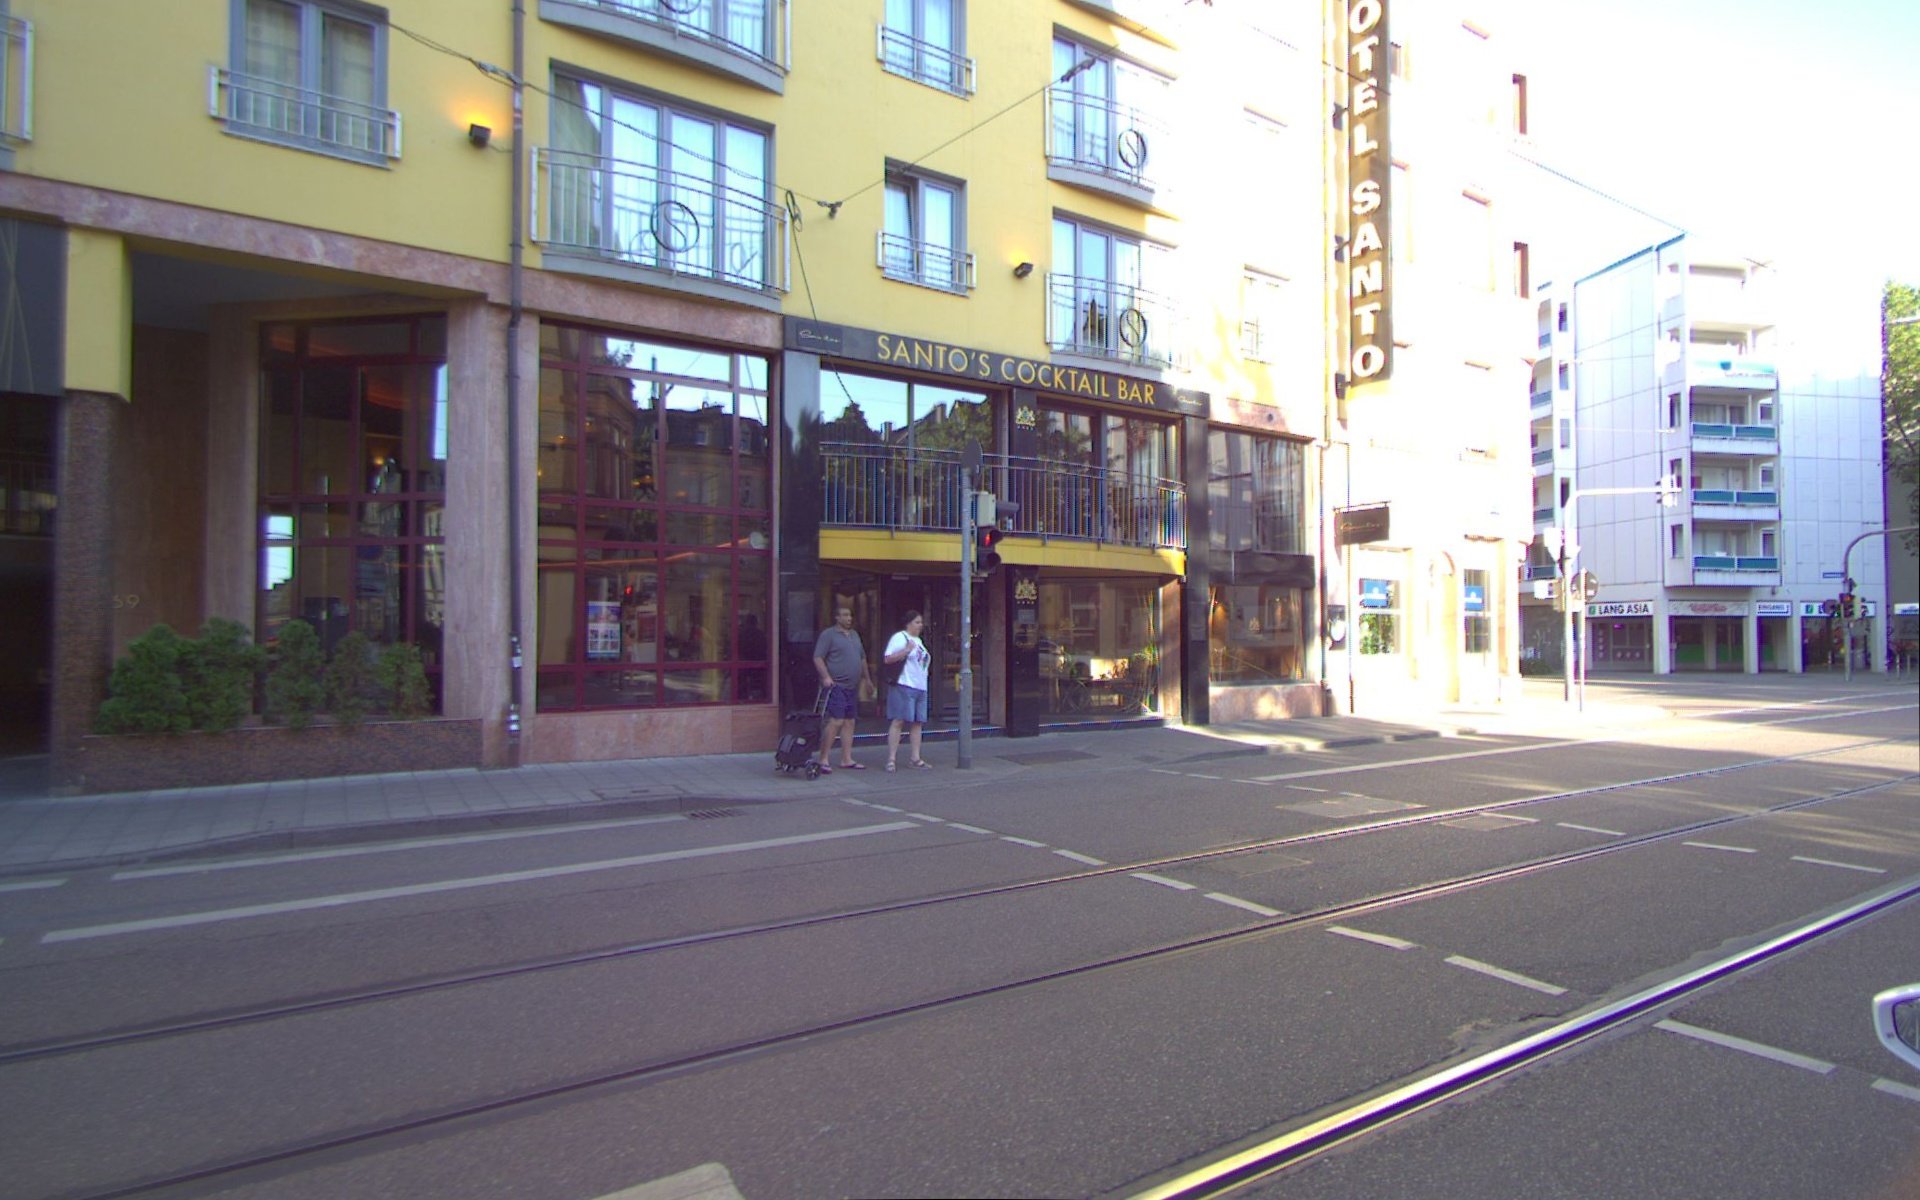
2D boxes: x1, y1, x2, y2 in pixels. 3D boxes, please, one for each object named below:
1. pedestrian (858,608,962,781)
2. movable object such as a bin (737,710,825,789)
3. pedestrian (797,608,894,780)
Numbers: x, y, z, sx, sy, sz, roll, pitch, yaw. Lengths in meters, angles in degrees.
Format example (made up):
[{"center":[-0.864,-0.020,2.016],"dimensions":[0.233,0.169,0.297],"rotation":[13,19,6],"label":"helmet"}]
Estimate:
[{"center":[-0.596,1.044,11.641],"dimensions":[0.745,1.843,1.036],"rotation":[0,3,-32],"label":"pedestrian"},{"center":[-1.906,1.580,10.703],"dimensions":[0.831,0.726,0.381],"rotation":[1,2,-31],"label":"movable object such as a bin"},{"center":[-1.286,1.012,11.224],"dimensions":[0.792,1.795,0.742],"rotation":[0,3,-33],"label":"pedestrian"}]
